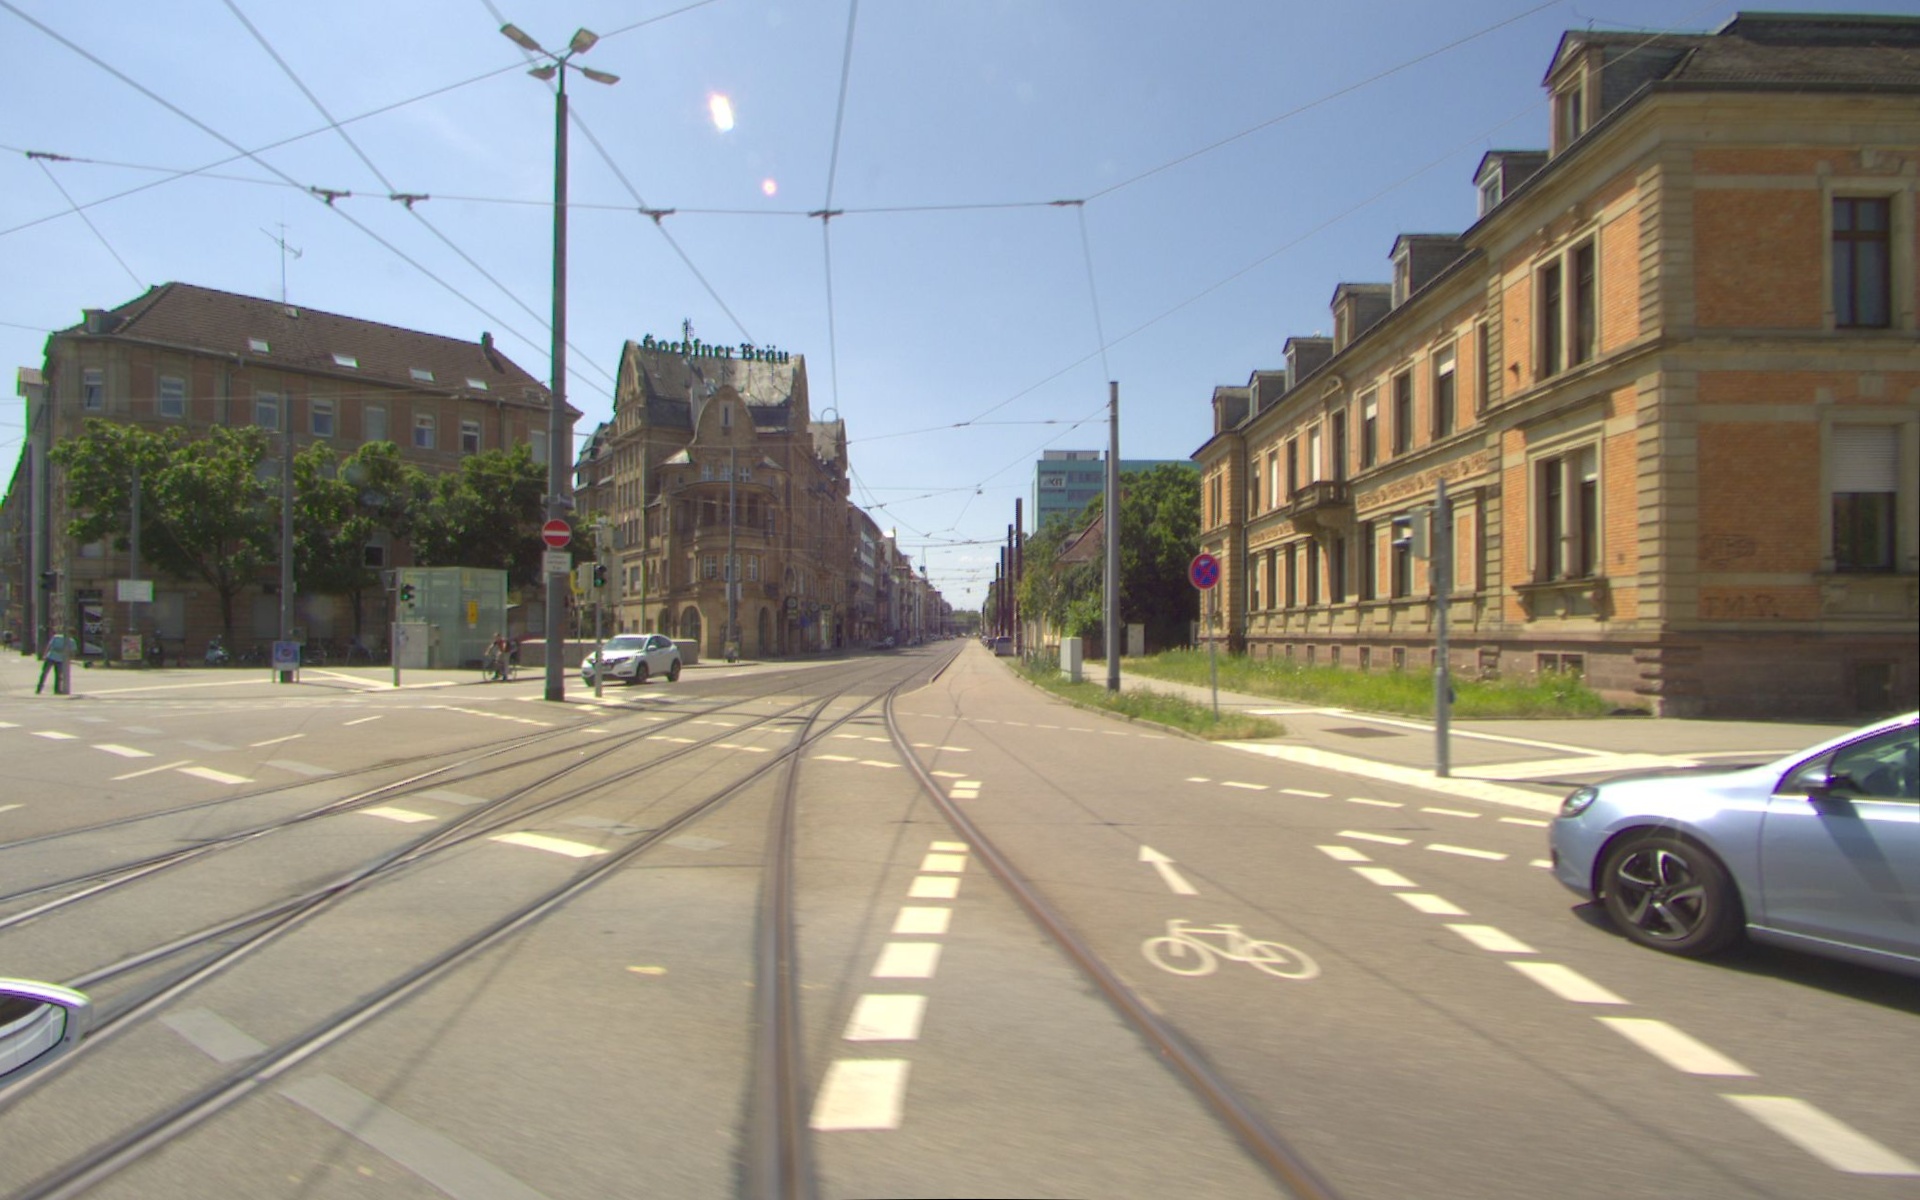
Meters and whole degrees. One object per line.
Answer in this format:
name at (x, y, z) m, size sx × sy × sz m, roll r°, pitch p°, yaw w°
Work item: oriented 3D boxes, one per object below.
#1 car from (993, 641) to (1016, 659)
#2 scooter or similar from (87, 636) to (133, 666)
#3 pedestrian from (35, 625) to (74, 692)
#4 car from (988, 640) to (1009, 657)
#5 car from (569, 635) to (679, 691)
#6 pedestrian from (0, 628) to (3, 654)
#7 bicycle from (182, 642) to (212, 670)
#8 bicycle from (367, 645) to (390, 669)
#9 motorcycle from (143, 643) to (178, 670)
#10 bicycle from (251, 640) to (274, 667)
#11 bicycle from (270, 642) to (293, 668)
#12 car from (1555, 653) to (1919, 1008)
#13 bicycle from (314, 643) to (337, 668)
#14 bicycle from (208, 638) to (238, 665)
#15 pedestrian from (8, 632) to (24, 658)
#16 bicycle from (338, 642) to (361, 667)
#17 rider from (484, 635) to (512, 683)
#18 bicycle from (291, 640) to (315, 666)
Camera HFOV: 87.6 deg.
car at (4.136, 4.630, 92.231) m, size 1.961 × 1.470 × 4.005 m, roll 0°, pitch -4°, yaw 4°
scooter or similar at (-35.817, 2.138, 42.221) m, size 0.588 × 1.196 × 1.792 m, roll 1°, pitch -2°, yaw -8°
pedestrian at (-23.718, 1.522, 26.229) m, size 0.628 × 1.730 × 0.462 m, roll 0°, pitch -1°, yaw 15°
car at (3.767, 4.724, 97.323) m, size 1.961 × 1.470 × 4.005 m, roll 0°, pitch -4°, yaw 4°
car at (-10.476, 1.937, 31.564) m, size 1.661 × 1.625 × 4.195 m, roll 0°, pitch -2°, yaw 6°
pedestrian at (-78.358, 3.328, 81.312) m, size 0.657 × 2.038 × 0.764 m, roll -2°, pitch -4°, yaw 42°
bicycle at (-32.336, 2.370, 42.431) m, size 1.797 × 1.134 × 0.549 m, roll -1°, pitch -2°, yaw 37°
bicycle at (-28.107, 2.752, 48.414) m, size 0.547 × 1.134 × 1.803 m, roll 2°, pitch -2°, yaw -43°
motorcycle at (-33.065, 2.336, 41.413) m, size 1.919 × 1.088 × 0.579 m, roll -1°, pitch -2°, yaw 34°
bicycle at (-30.851, 2.353, 44.270) m, size 0.547 × 1.134 × 1.803 m, roll 2°, pitch -2°, yaw -43°
bicycle at (-30.325, 2.450, 44.740) m, size 0.547 × 1.134 × 1.803 m, roll 2°, pitch -2°, yaw -43°
car at (4.955, 0.981, 4.184) m, size 1.633 × 1.477 × 3.986 m, roll 3°, pitch -4°, yaw -29°
bicycle at (-29.589, 2.588, 46.685) m, size 0.547 × 1.134 × 1.853 m, roll 2°, pitch -3°, yaw -43°
bicycle at (-32.067, 2.245, 43.541) m, size 2.067 × 1.159 × 0.441 m, roll -2°, pitch -4°, yaw 37°
pedestrian at (-77.663, 3.711, 82.378) m, size 0.657 × 2.038 × 0.764 m, roll -2°, pitch -4°, yaw 42°
bicycle at (-29.007, 2.584, 47.581) m, size 0.547 × 1.134 × 1.911 m, roll 2°, pitch -3°, yaw -43°
rider at (-16.018, 2.036, 34.727) m, size 0.553 × 1.621 × 0.876 m, roll 1°, pitch -1°, yaw -2°
bicycle at (-29.753, 2.402, 45.347) m, size 0.547 × 1.134 × 1.871 m, roll 2°, pitch -2°, yaw -43°
